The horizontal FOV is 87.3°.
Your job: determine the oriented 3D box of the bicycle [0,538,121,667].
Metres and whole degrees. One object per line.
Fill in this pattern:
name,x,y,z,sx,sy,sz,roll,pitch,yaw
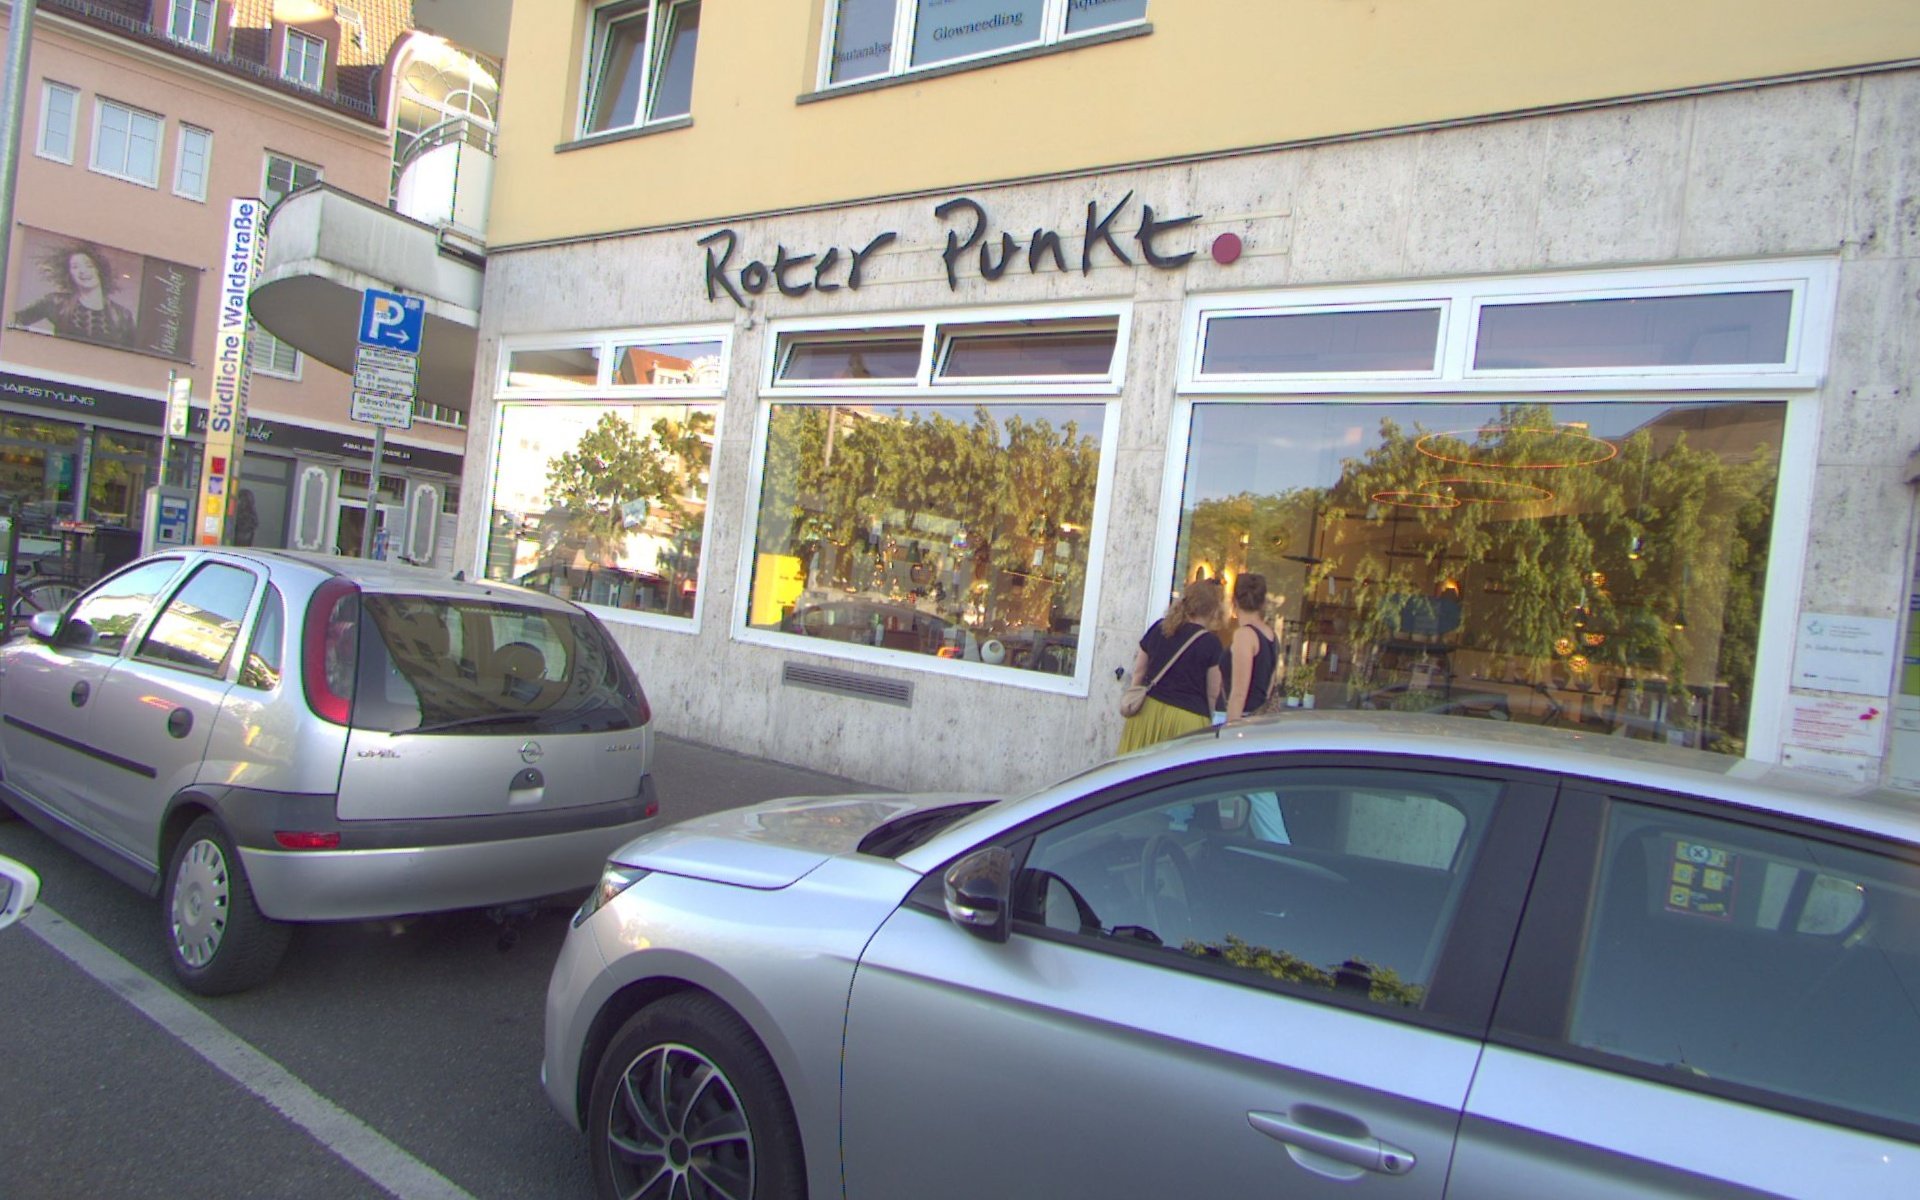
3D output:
bicycle,-8.121,-0.001,8.213,0.348,1.051,1.871,6,1,38

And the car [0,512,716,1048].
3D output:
car,-2.928,0.487,4.435,3.420,1.407,1.548,6,-1,33

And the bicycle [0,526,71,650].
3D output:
bicycle,-9.090,-0.147,8.806,0.408,1.101,1.872,6,1,35

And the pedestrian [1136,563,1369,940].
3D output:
pedestrian,1.416,0.707,4.919,0.652,1.685,0.643,7,0,-29

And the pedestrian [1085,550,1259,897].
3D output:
pedestrian,1.236,0.676,5.799,0.729,1.805,0.568,7,0,17

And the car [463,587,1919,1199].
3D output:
car,0.769,0.923,2.267,3.598,1.444,1.550,6,-1,30
